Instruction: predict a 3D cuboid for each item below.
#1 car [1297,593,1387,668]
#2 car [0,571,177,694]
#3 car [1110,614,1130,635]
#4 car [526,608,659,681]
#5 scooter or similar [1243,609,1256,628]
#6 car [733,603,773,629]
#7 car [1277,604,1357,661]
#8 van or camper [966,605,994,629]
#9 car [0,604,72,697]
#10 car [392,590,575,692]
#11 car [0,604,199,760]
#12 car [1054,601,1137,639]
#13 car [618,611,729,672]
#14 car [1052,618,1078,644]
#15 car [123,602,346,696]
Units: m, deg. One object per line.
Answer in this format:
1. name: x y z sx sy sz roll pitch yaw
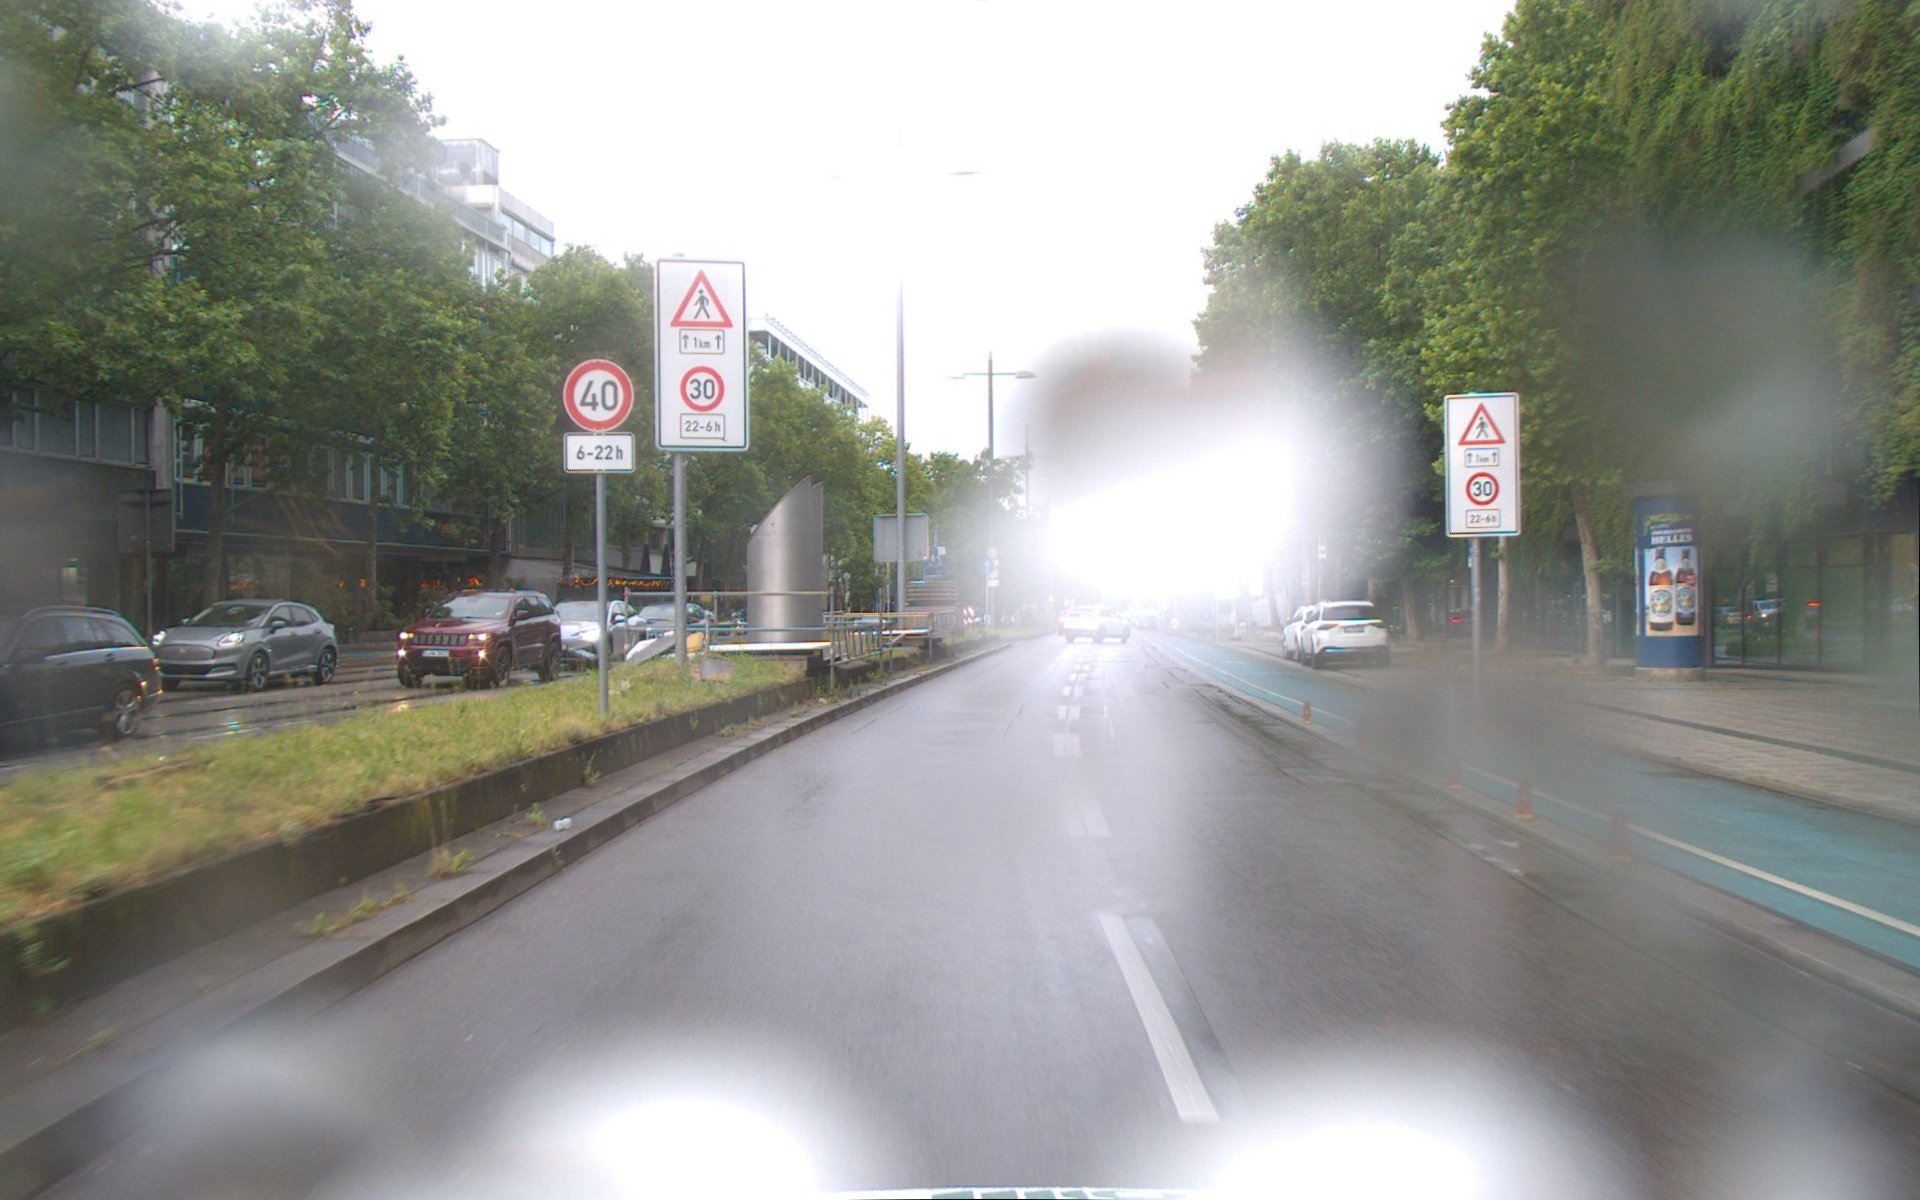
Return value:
1. car: 10.325 0.780 45.036 1.804 1.870 5.097 -1 0 7
2. car: -12.965 0.426 23.446 1.716 1.592 4.001 0 0 2
3. car: 13.413 2.008 139.015 1.586 1.695 4.002 -1 0 5
4. car: -8.654 0.997 39.337 1.698 1.601 4.834 0 0 5
5. scooter or similar: 19.662 1.245 112.395 0.375 1.249 1.073 -1 -1 41
6. car: -12.171 0.950 97.206 1.657 1.494 3.461 0 0 5
7. car: 11.008 0.974 51.239 1.804 1.661 4.789 0 0 4
8. van or camper: 1.671 1.372 134.859 1.951 1.947 5.254 0 0 5
9. car: -16.100 0.798 25.804 1.851 1.472 4.589 0 0 2
10. car: -9.034 0.721 31.862 1.797 1.797 5.111 0 0 3
11. car: -10.067 0.795 17.222 1.805 1.476 4.918 0 0 3
12. car: 6.440 0.918 77.895 1.957 1.684 4.878 0 0 31
13. car: -7.963 1.123 46.356 1.873 1.579 4.545 0 0 7
14. car: 6.485 1.910 102.396 1.586 1.497 4.002 0 0 3
15. car: -12.642 0.794 29.147 1.683 1.517 4.571 0 0 4
